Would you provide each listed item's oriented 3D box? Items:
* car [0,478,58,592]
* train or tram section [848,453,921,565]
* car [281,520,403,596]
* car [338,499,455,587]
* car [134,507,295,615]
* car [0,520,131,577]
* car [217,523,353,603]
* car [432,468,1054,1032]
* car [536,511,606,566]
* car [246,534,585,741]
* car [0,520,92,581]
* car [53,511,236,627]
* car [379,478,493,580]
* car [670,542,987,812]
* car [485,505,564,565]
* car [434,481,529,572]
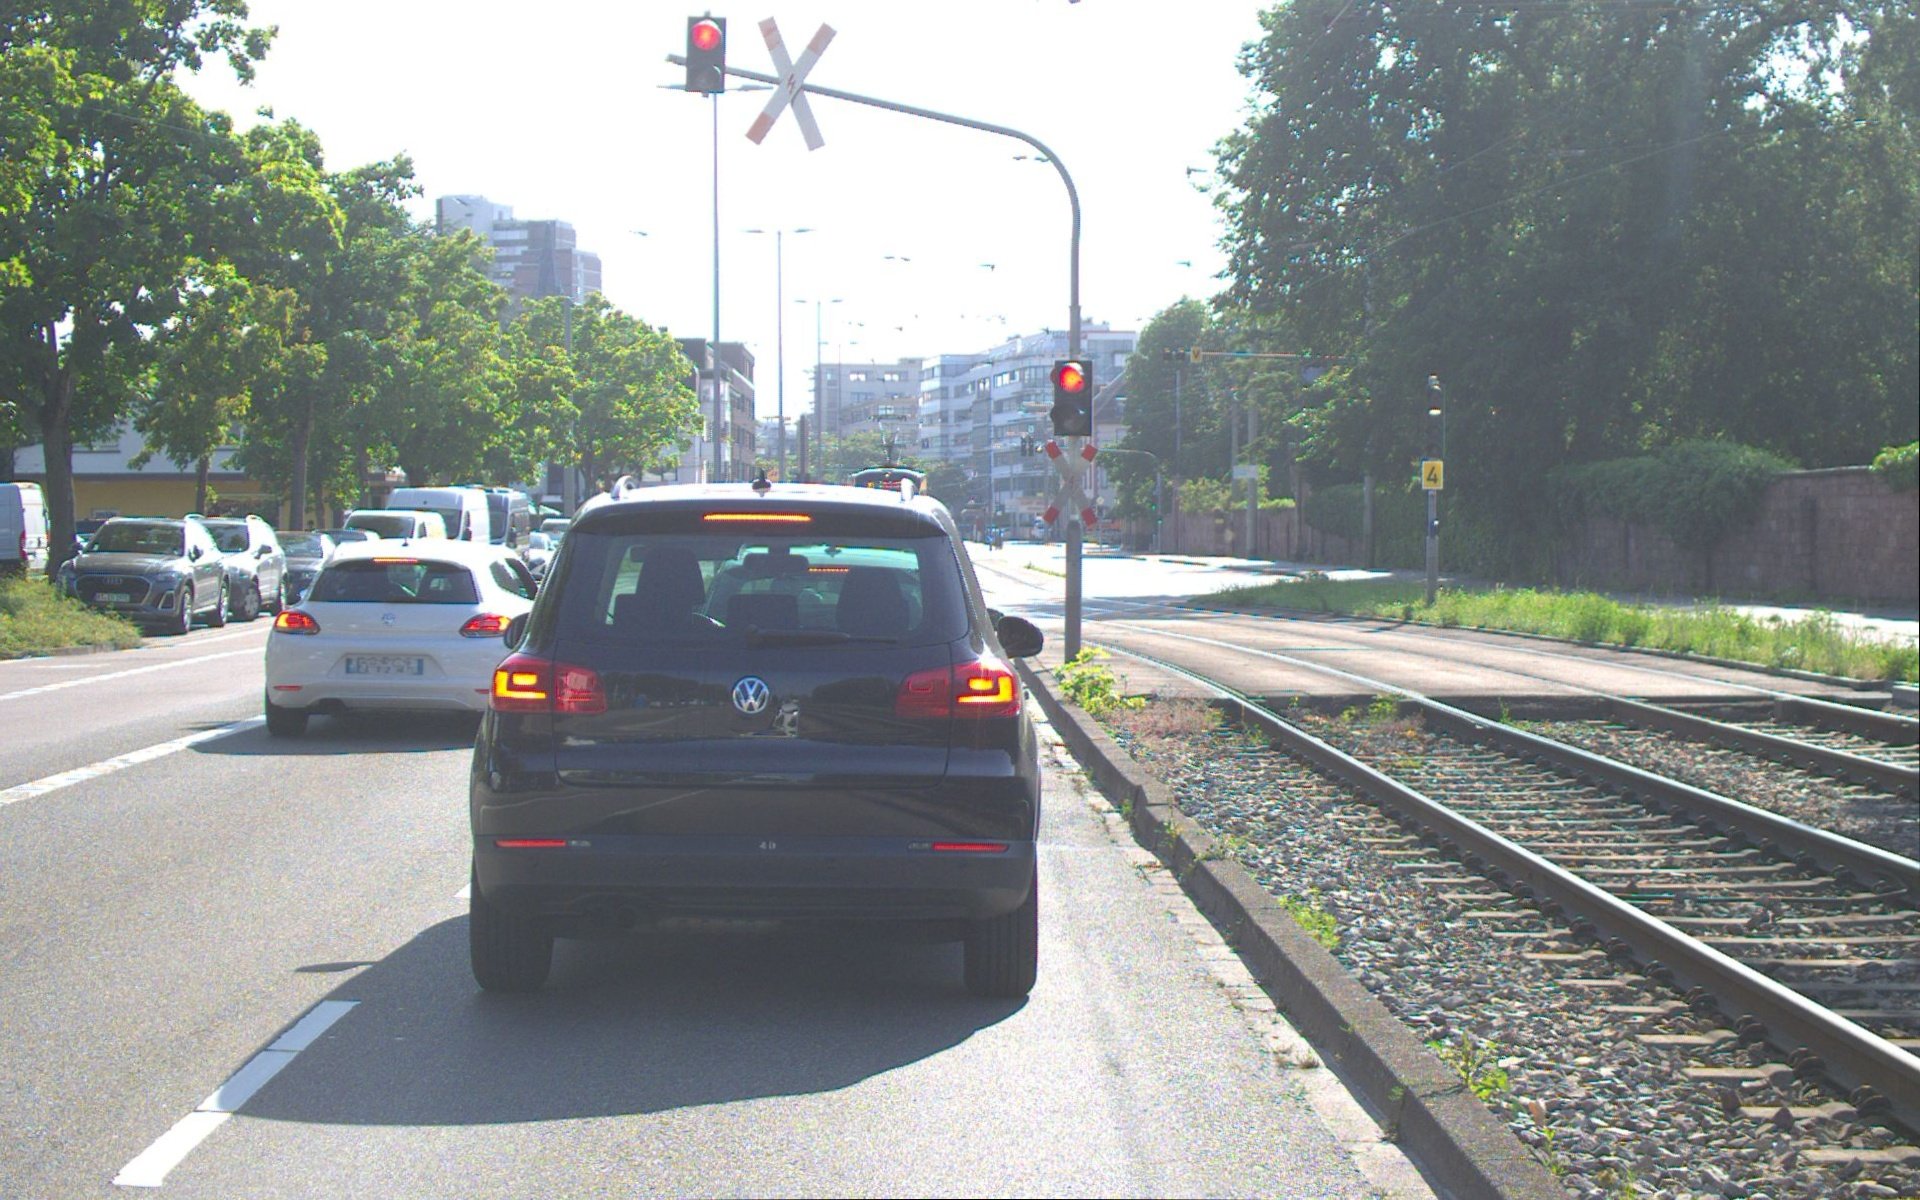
[{"bbox_3d":[-22.446,-1.394,74.239,5.375,2.415,2.088,0,1,0],"label":"car"},{"bbox_3d":[-2.450,-3.000,113.818,2.326,3.558,8.901,0,1,-1],"label":"train or tram section"},{"bbox_3d":[-12.408,-0.859,69.176,1.732,1.445,3.735,0,2,1],"label":"car"},{"bbox_3d":[-12.166,-1.259,74.489,1.732,1.853,4.489,0,1,1],"label":"car"},{"bbox_3d":[-12.306,-0.681,56.982,1.732,1.688,4.000,0,2,1],"label":"car"},{"bbox_3d":[-22.712,-1.283,85.174,3.986,1.392,1.738,0,1,-4],"label":"car"},{"bbox_3d":[-12.389,-0.696,63.294,1.732,1.384,3.735,0,2,1],"label":"car"},{"bbox_3d":[-0.663,0.406,12.136,1.811,1.639,4.000,1,1,-1],"label":"car"},{"bbox_3d":[-12.514,-2.000,110.847,1.732,1.688,4.000,0,2,1],"label":"car"},{"bbox_3d":[-3.864,0.211,25.032,1.864,1.343,4.000,1,1,-1],"label":"car"},{"bbox_3d":[-22.308,-1.148,79.705,3.986,1.392,1.738,0,1,-4],"label":"car"},{"bbox_3d":[-12.158,-0.498,51.501,1.732,1.652,4.000,0,1,1],"label":"car"},{"bbox_3d":[-12.326,-1.691,81.156,1.863,2.339,4.985,0,1,1],"label":"car"},{"bbox_3d":[-0.716,0.375,20.193,1.669,1.382,4.000,0,1,-1],"label":"car"},{"bbox_3d":[-12.597,-1.899,99.632,1.732,1.688,4.000,0,2,1],"label":"car"},{"bbox_3d":[-12.212,-1.896,87.983,1.732,2.261,4.645,0,1,1],"label":"car"}]
